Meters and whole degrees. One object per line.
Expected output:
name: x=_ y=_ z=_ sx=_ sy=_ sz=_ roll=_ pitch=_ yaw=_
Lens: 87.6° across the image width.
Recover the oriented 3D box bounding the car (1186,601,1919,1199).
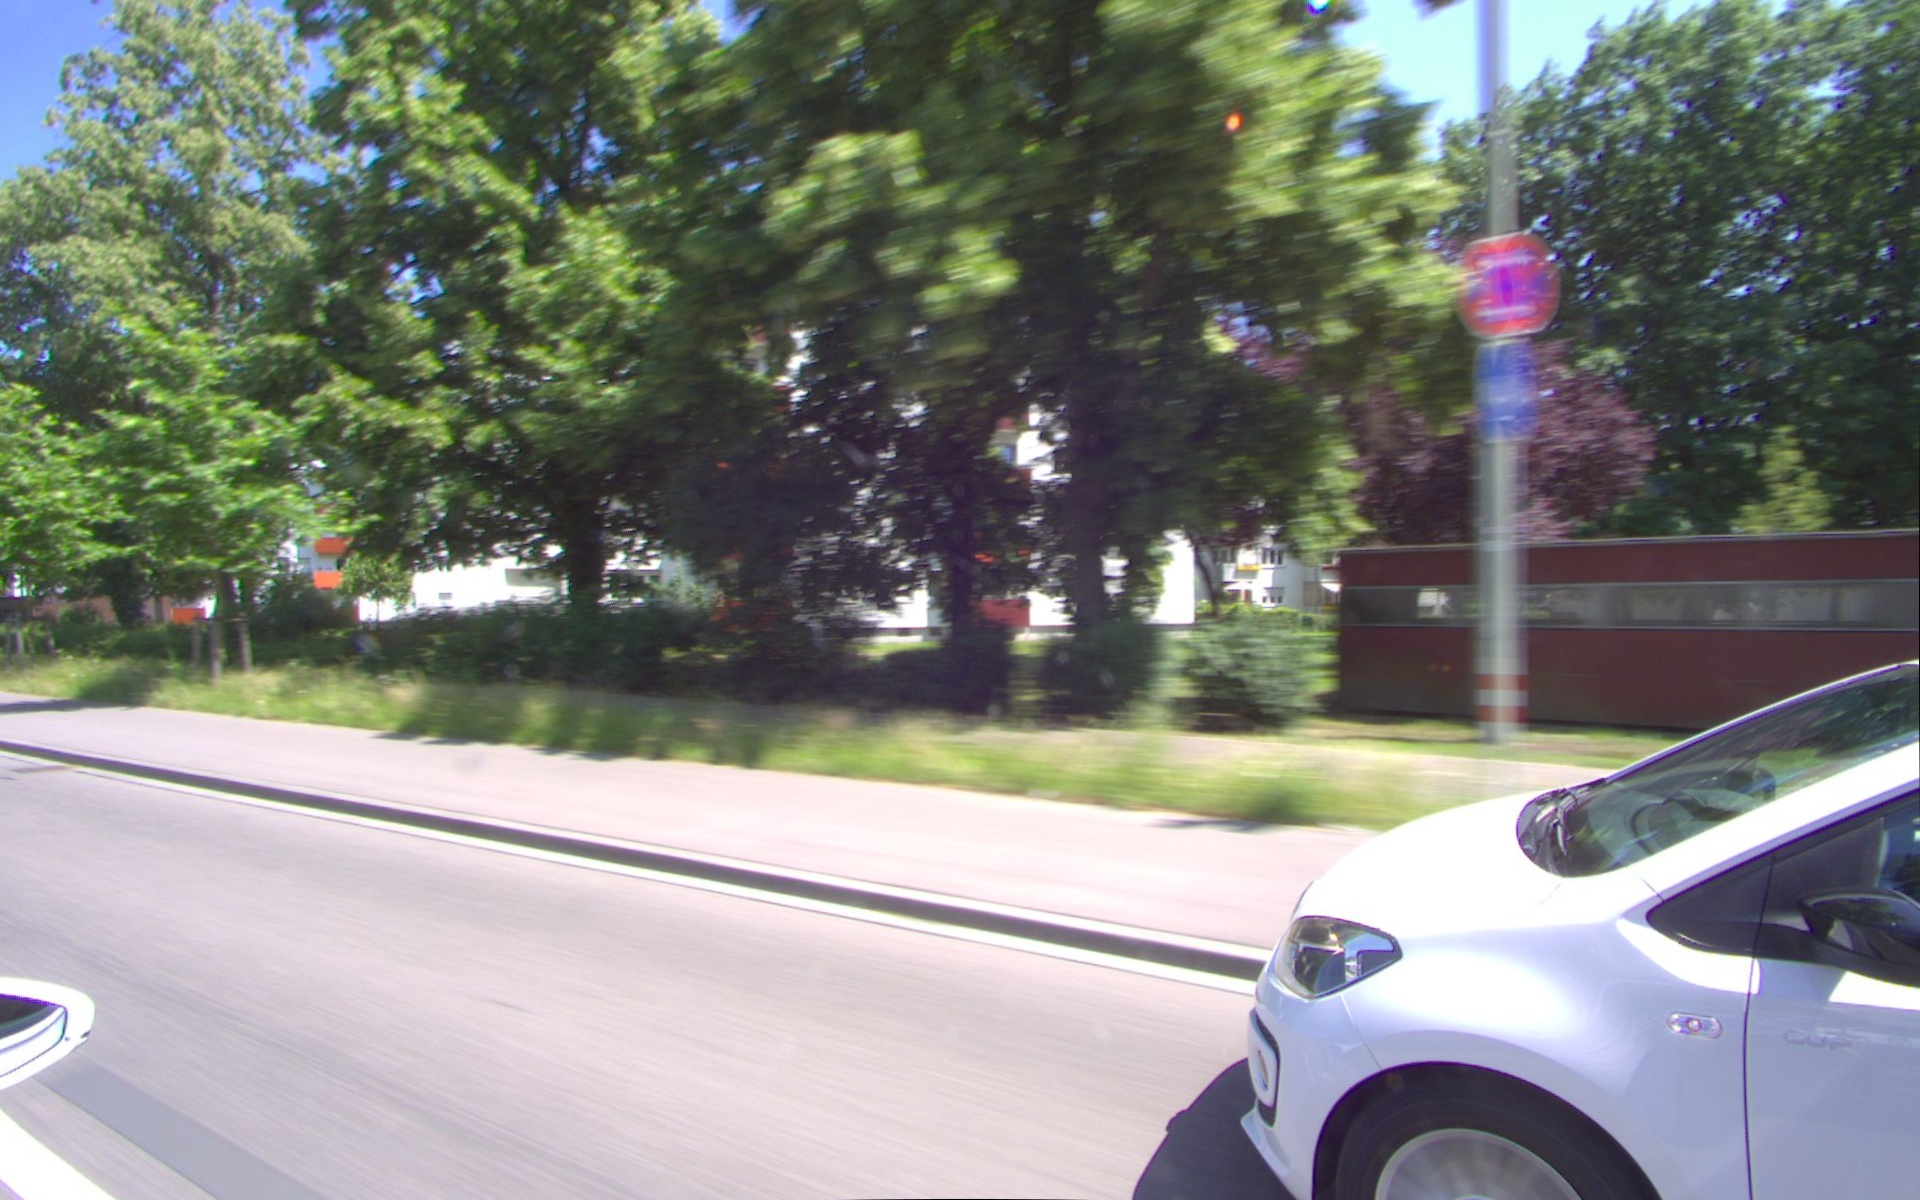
car: x=2.545 y=0.752 z=1.929 sx=3.799 sy=1.468 sz=1.656 roll=0 pitch=-1 yaw=32
